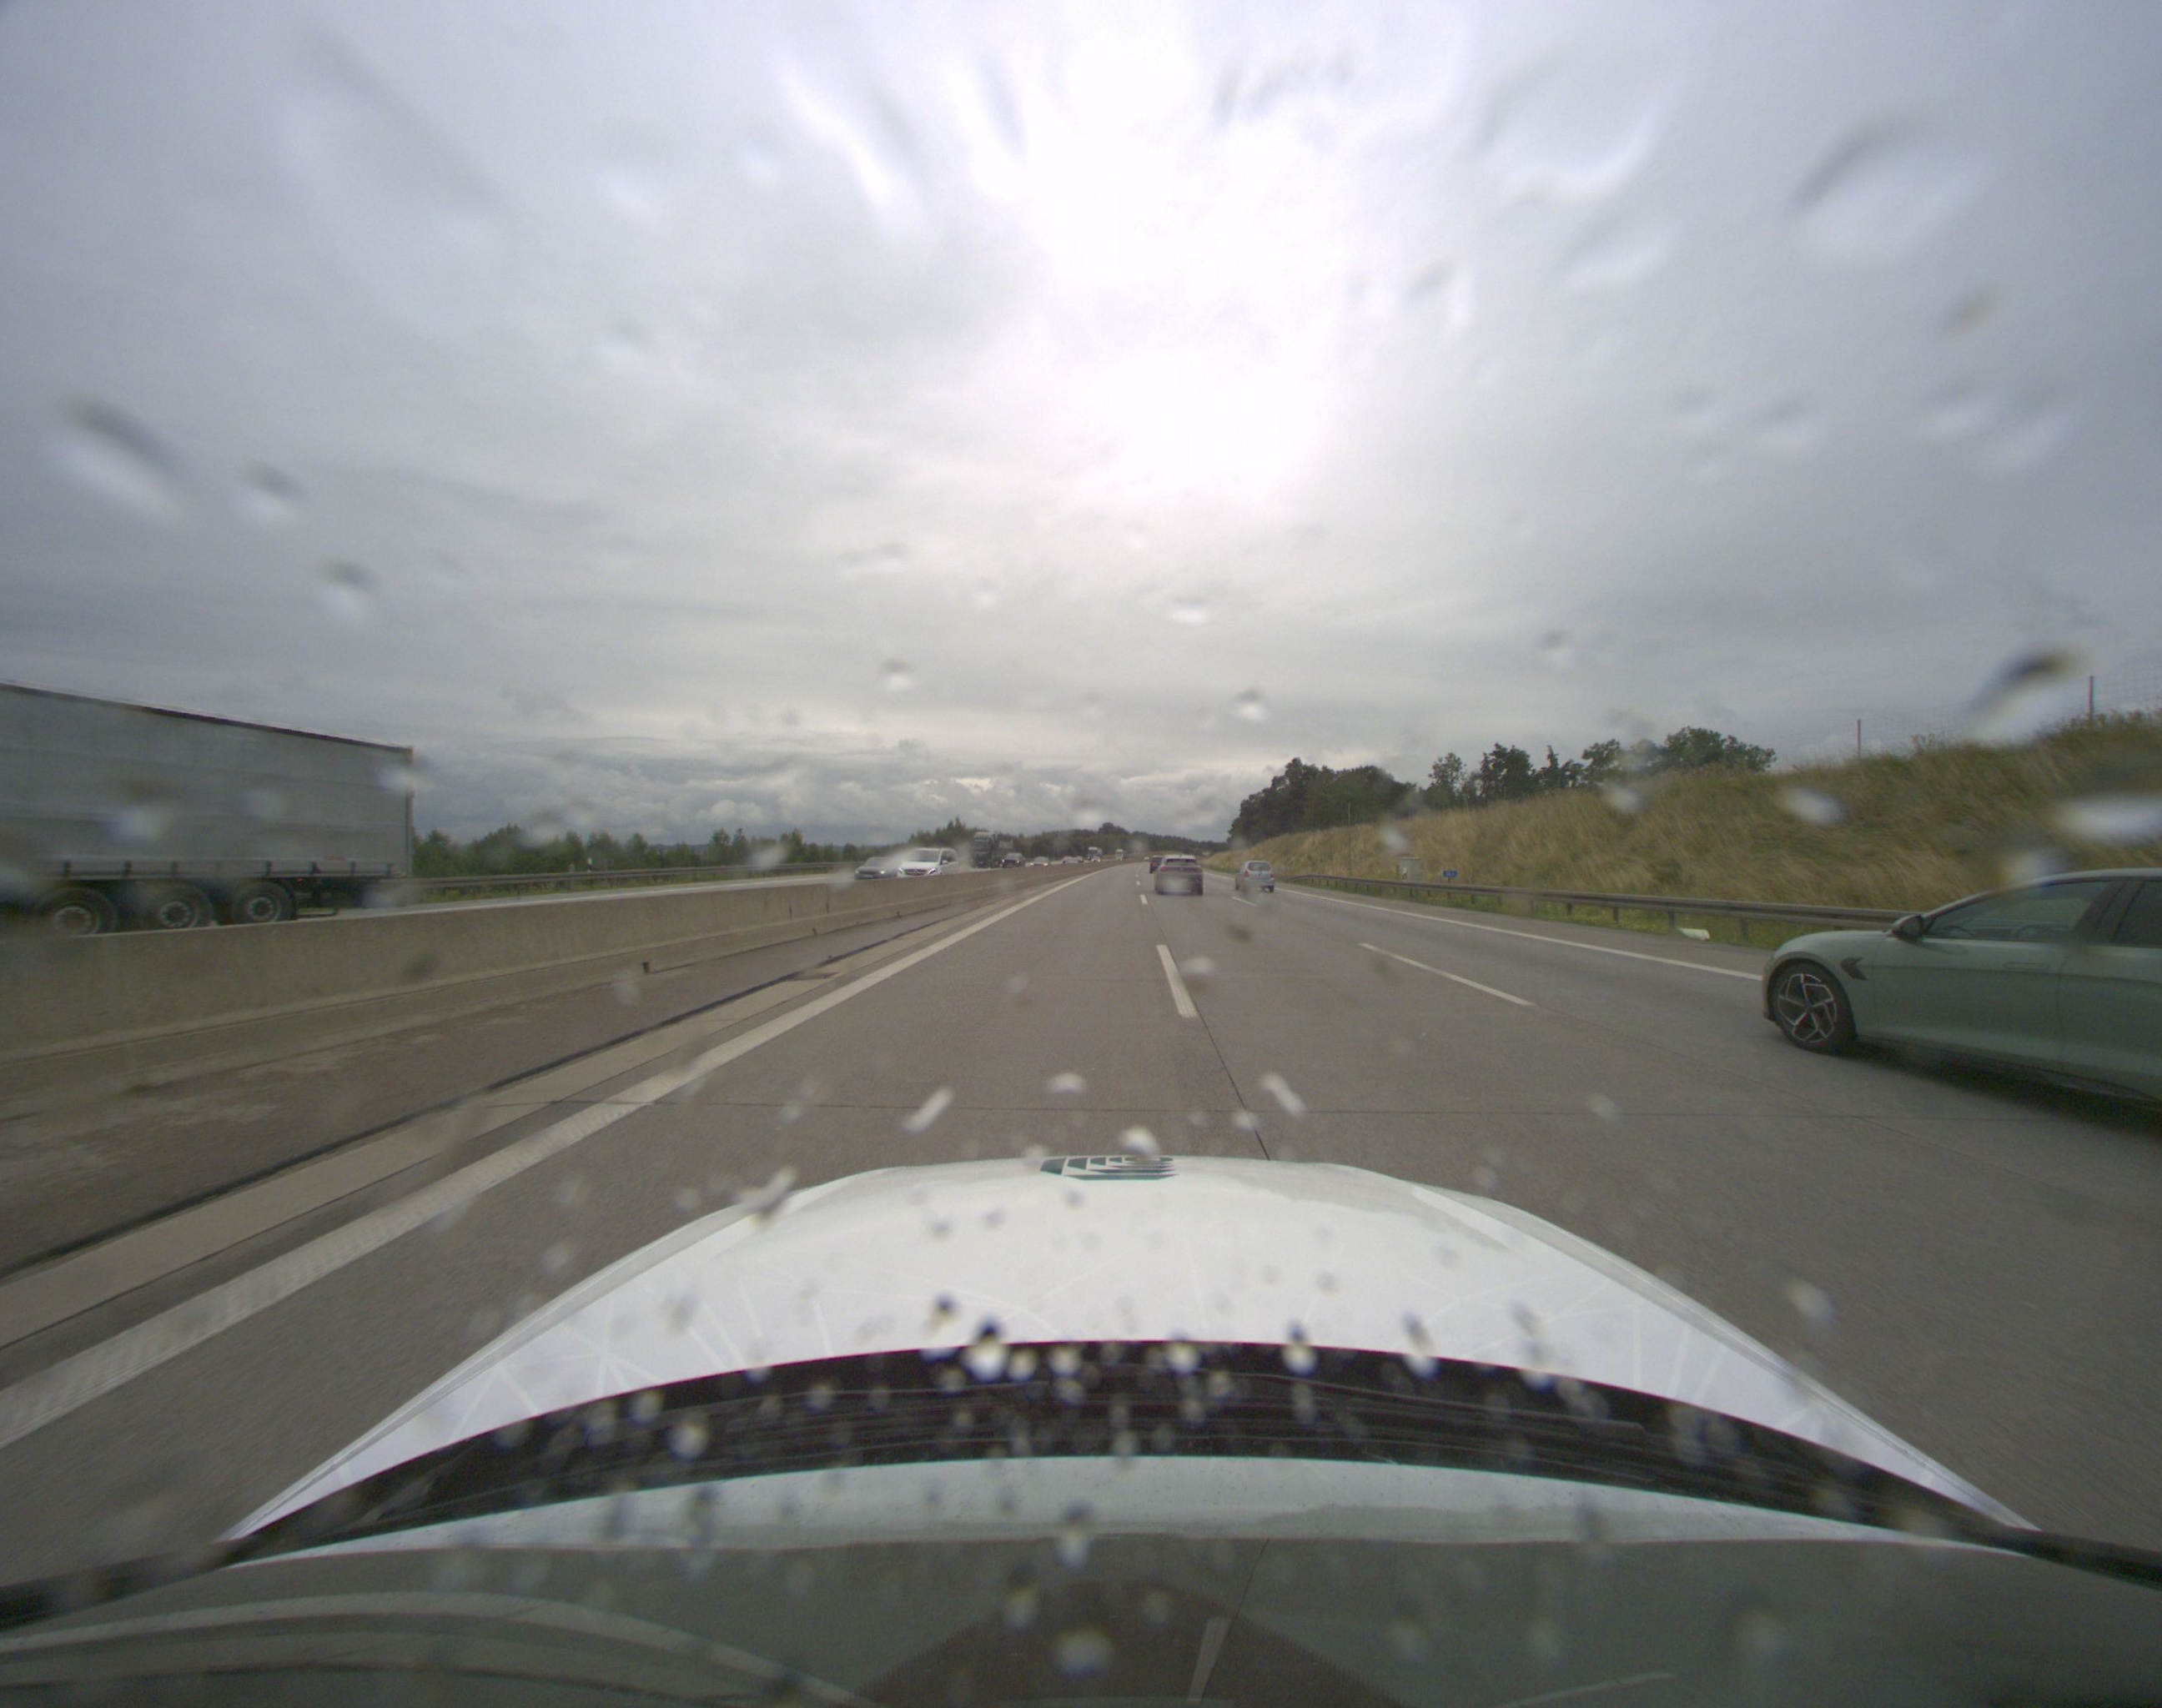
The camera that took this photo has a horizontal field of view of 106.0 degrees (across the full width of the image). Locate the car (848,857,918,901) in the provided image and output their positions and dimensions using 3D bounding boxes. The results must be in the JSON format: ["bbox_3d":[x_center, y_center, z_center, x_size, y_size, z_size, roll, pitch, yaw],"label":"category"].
[{"bbox_3d":[-10.403,1.232,43.283,1.906,2.013,5.929,-1,1,3],"label":"car"}]

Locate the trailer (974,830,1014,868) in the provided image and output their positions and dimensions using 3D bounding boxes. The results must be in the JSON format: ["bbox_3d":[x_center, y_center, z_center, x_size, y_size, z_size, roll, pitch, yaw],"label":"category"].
[{"bbox_3d":[-10.727,-0.682,101.613,2.753,4.281,12.180,2,1,3],"label":"trailer"}]

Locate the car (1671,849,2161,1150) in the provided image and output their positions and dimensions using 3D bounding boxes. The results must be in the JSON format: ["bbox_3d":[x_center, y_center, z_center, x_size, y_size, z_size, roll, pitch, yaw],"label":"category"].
[{"bbox_3d":[6.535,0.740,5.355,2.006,1.445,4.748,-1,1,2],"label":"car"}]

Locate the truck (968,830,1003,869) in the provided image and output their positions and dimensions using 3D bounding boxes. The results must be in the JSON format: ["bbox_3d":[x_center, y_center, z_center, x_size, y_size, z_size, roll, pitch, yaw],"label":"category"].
[{"bbox_3d":[-11.154,-0.585,95.429,2.777,4.262,6.056,2,1,4],"label":"truck"}]

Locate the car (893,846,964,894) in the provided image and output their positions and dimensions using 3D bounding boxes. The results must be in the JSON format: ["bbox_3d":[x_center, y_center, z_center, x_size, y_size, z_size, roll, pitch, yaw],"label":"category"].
[{"bbox_3d":[-7.107,0.697,38.636,1.906,2.013,5.929,-1,1,3],"label":"car"}]

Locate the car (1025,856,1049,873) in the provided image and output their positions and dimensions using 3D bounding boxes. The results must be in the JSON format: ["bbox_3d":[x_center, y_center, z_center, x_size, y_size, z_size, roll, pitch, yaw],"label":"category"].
[{"bbox_3d":[-4.375,0.984,81.379,1.986,1.519,4.400,-1,1,2],"label":"car"}]

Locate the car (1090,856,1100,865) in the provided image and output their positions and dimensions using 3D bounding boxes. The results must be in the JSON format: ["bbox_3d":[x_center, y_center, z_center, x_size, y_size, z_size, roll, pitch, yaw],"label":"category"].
[{"bbox_3d":[2.859,1.272,165.445,1.714,1.587,4.977,0,1,4],"label":"car"}]

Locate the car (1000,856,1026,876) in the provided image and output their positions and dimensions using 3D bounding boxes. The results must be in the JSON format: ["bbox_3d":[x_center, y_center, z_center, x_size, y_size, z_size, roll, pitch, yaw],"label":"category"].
[{"bbox_3d":[-7.296,1.235,88.221,1.985,1.973,5.336,-1,1,4],"label":"car"}]

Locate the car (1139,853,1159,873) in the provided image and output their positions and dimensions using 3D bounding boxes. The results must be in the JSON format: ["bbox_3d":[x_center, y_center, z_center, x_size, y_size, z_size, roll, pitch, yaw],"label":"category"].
[{"bbox_3d":[6.568,0.832,78.586,1.777,1.747,3.921,-1,1,5],"label":"car"}]

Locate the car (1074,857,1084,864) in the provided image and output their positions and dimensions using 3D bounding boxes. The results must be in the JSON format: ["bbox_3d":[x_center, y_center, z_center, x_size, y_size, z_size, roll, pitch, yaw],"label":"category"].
[{"bbox_3d":[-0.407,1.288,169.105,1.511,1.393,4.491,2,0,4],"label":"car"}]

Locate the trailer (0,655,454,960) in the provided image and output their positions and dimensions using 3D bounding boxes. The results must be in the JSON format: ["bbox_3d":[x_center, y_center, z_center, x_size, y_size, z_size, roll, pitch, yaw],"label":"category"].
[{"bbox_3d":[-16.313,-0.636,12.956,2.906,4.217,11.882,-1,1,3],"label":"trailer"}]

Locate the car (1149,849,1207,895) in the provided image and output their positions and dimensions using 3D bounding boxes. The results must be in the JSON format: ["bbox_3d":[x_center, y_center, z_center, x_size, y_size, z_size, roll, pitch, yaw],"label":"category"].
[{"bbox_3d":[3.983,0.695,34.171,1.891,1.689,5.268,-1,1,1],"label":"car"}]

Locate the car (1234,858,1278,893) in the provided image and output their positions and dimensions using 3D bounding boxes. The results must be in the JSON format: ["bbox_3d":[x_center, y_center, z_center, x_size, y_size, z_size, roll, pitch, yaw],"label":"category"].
[{"bbox_3d":[8.298,0.972,38.811,1.479,1.470,3.507,1,1,3],"label":"car"}]

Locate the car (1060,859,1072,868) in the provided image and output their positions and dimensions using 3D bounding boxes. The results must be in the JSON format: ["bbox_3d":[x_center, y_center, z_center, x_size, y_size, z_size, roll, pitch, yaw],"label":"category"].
[{"bbox_3d":[-2.667,1.696,147.820,1.710,1.508,4.491,0,-1,4],"label":"car"}]
